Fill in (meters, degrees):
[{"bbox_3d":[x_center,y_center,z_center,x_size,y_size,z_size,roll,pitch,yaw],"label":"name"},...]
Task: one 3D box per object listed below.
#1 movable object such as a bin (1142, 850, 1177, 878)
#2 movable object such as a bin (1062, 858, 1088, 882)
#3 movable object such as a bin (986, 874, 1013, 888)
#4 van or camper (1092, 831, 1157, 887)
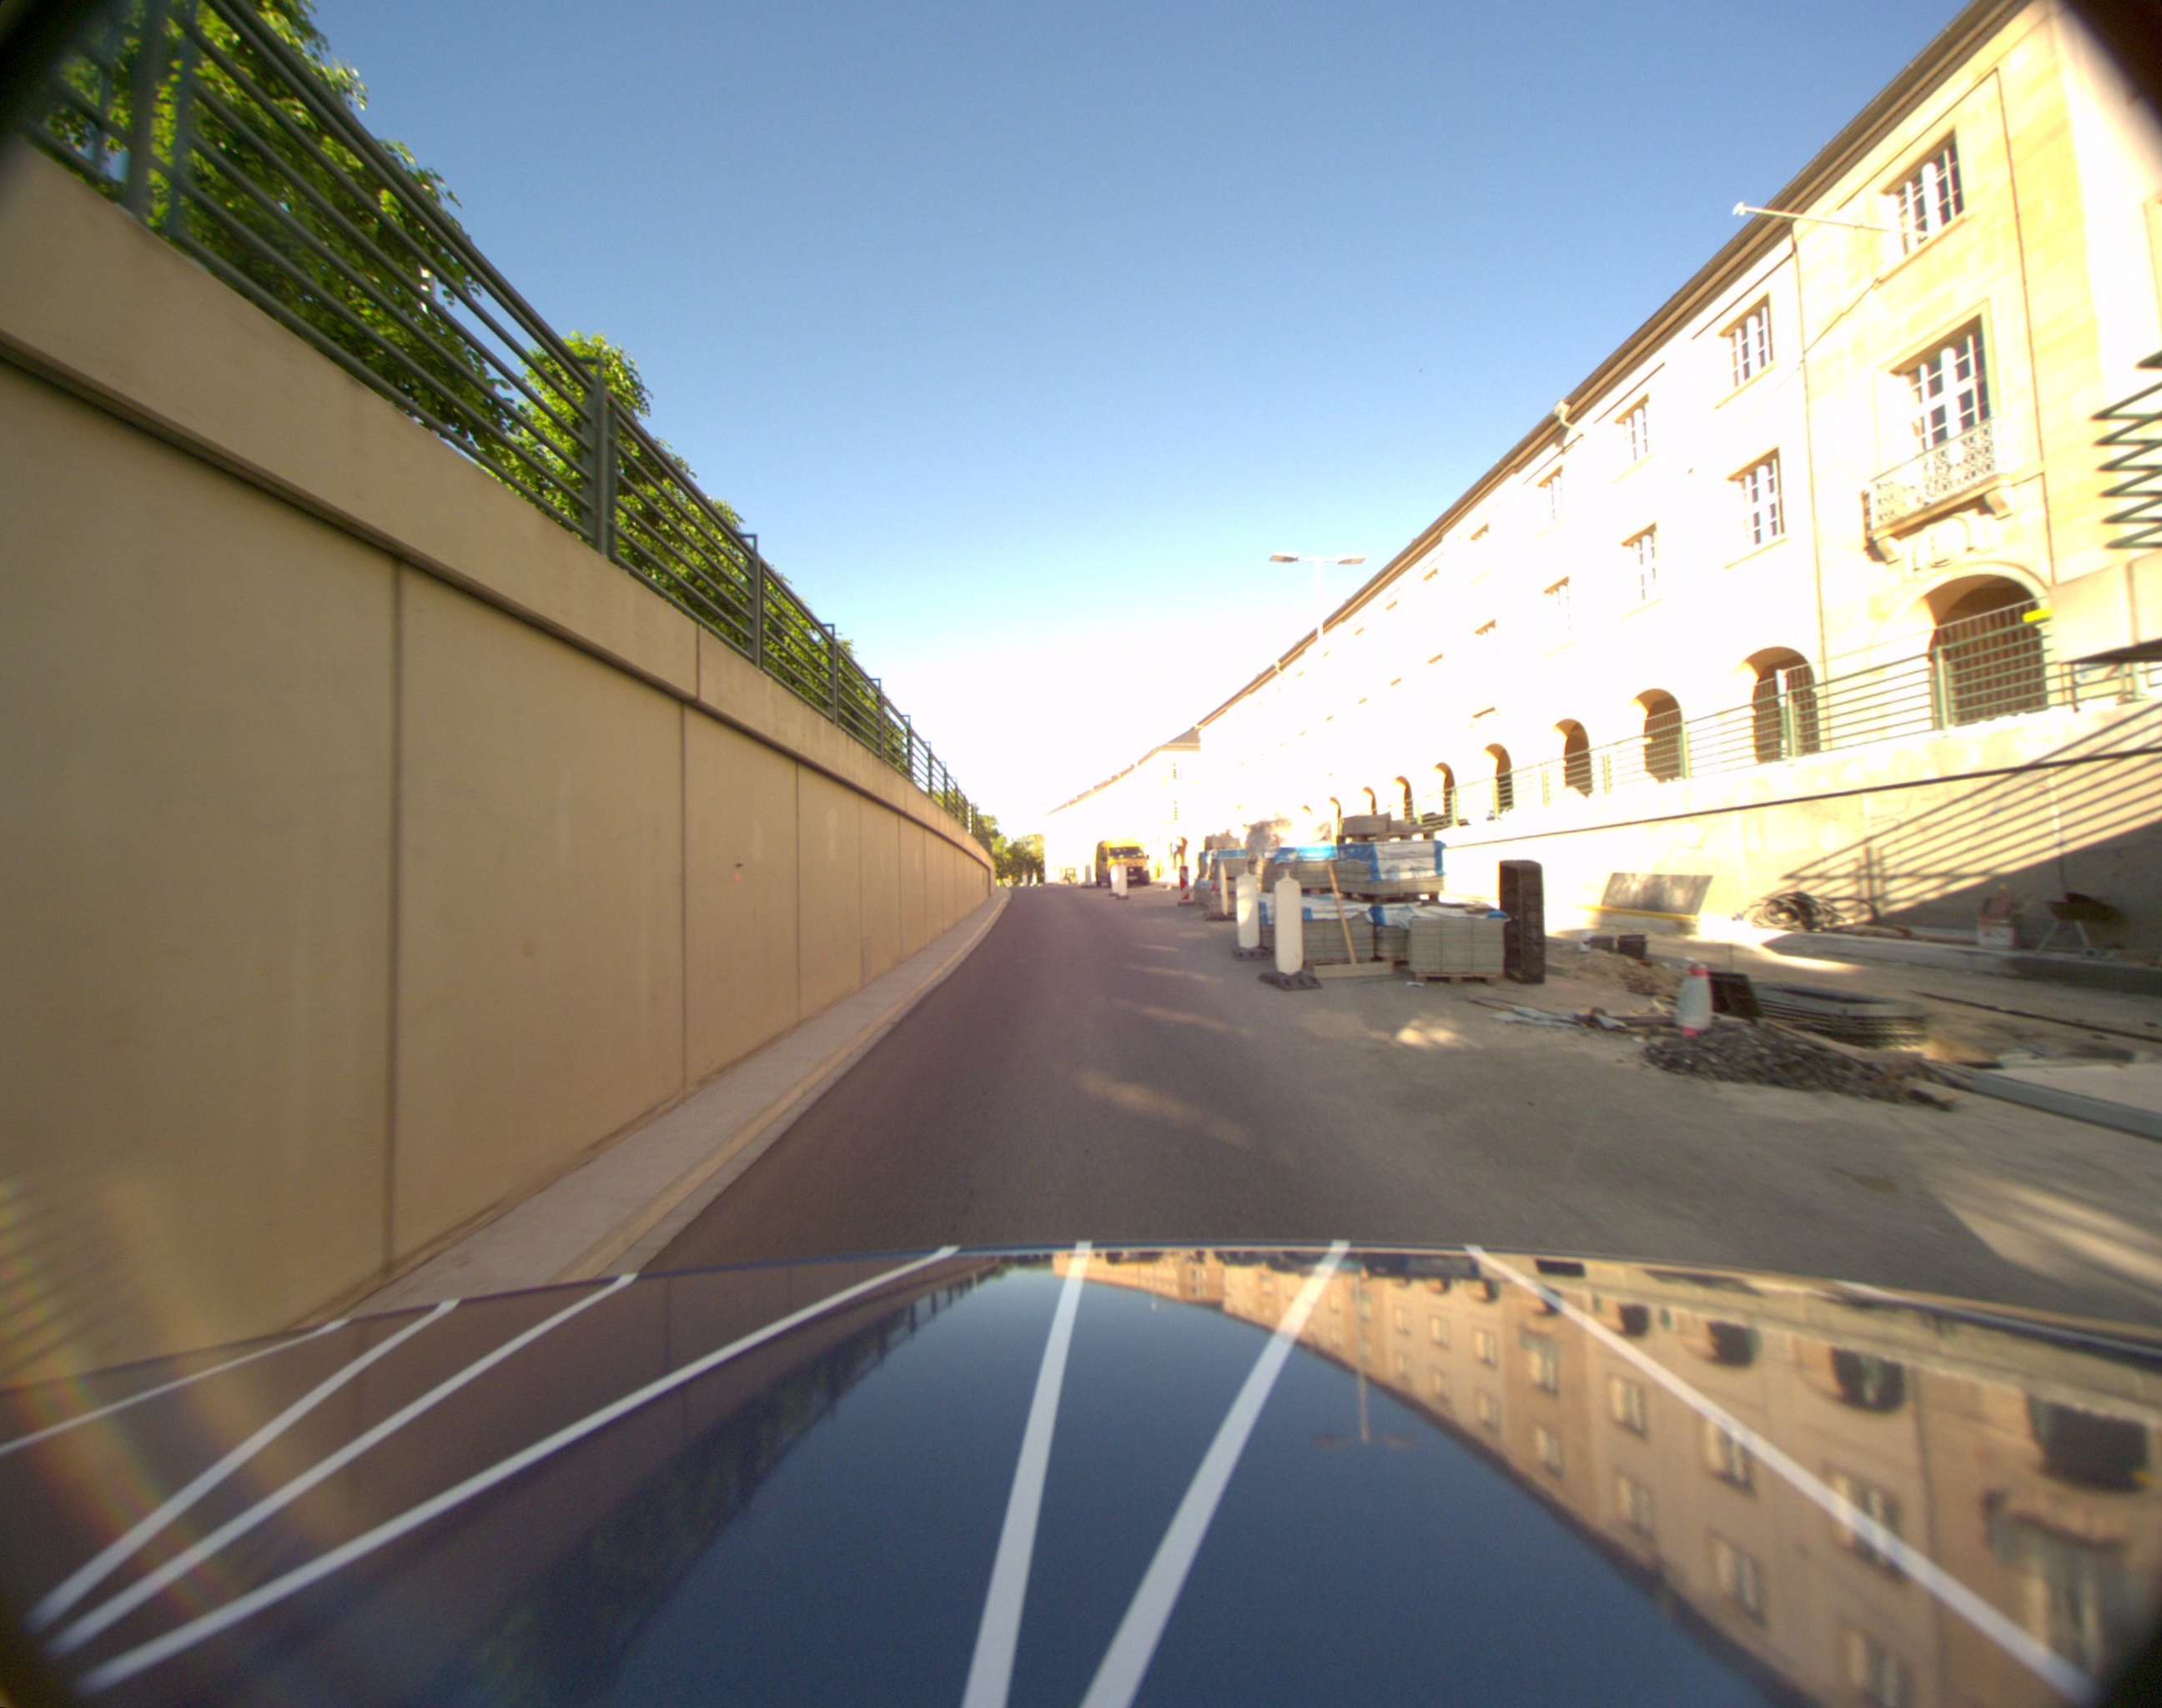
[{"bbox_3d":[6.886,0.924,67.058,2.106,2.380,4.306,1,-2,-8],"label":"movable object such as a bin"},{"bbox_3d":[-0.682,1.775,84.023,1.797,2.437,4.533,0,-3,-15],"label":"movable object such as a bin"},{"bbox_3d":[-11.644,3.872,108.778,3.248,2.063,2.107,1,-3,-25],"label":"movable object such as a bin"},{"bbox_3d":[2.142,0.283,39.885,2.200,2.597,6.821,-4,0,-6],"label":"van or camper"}]
